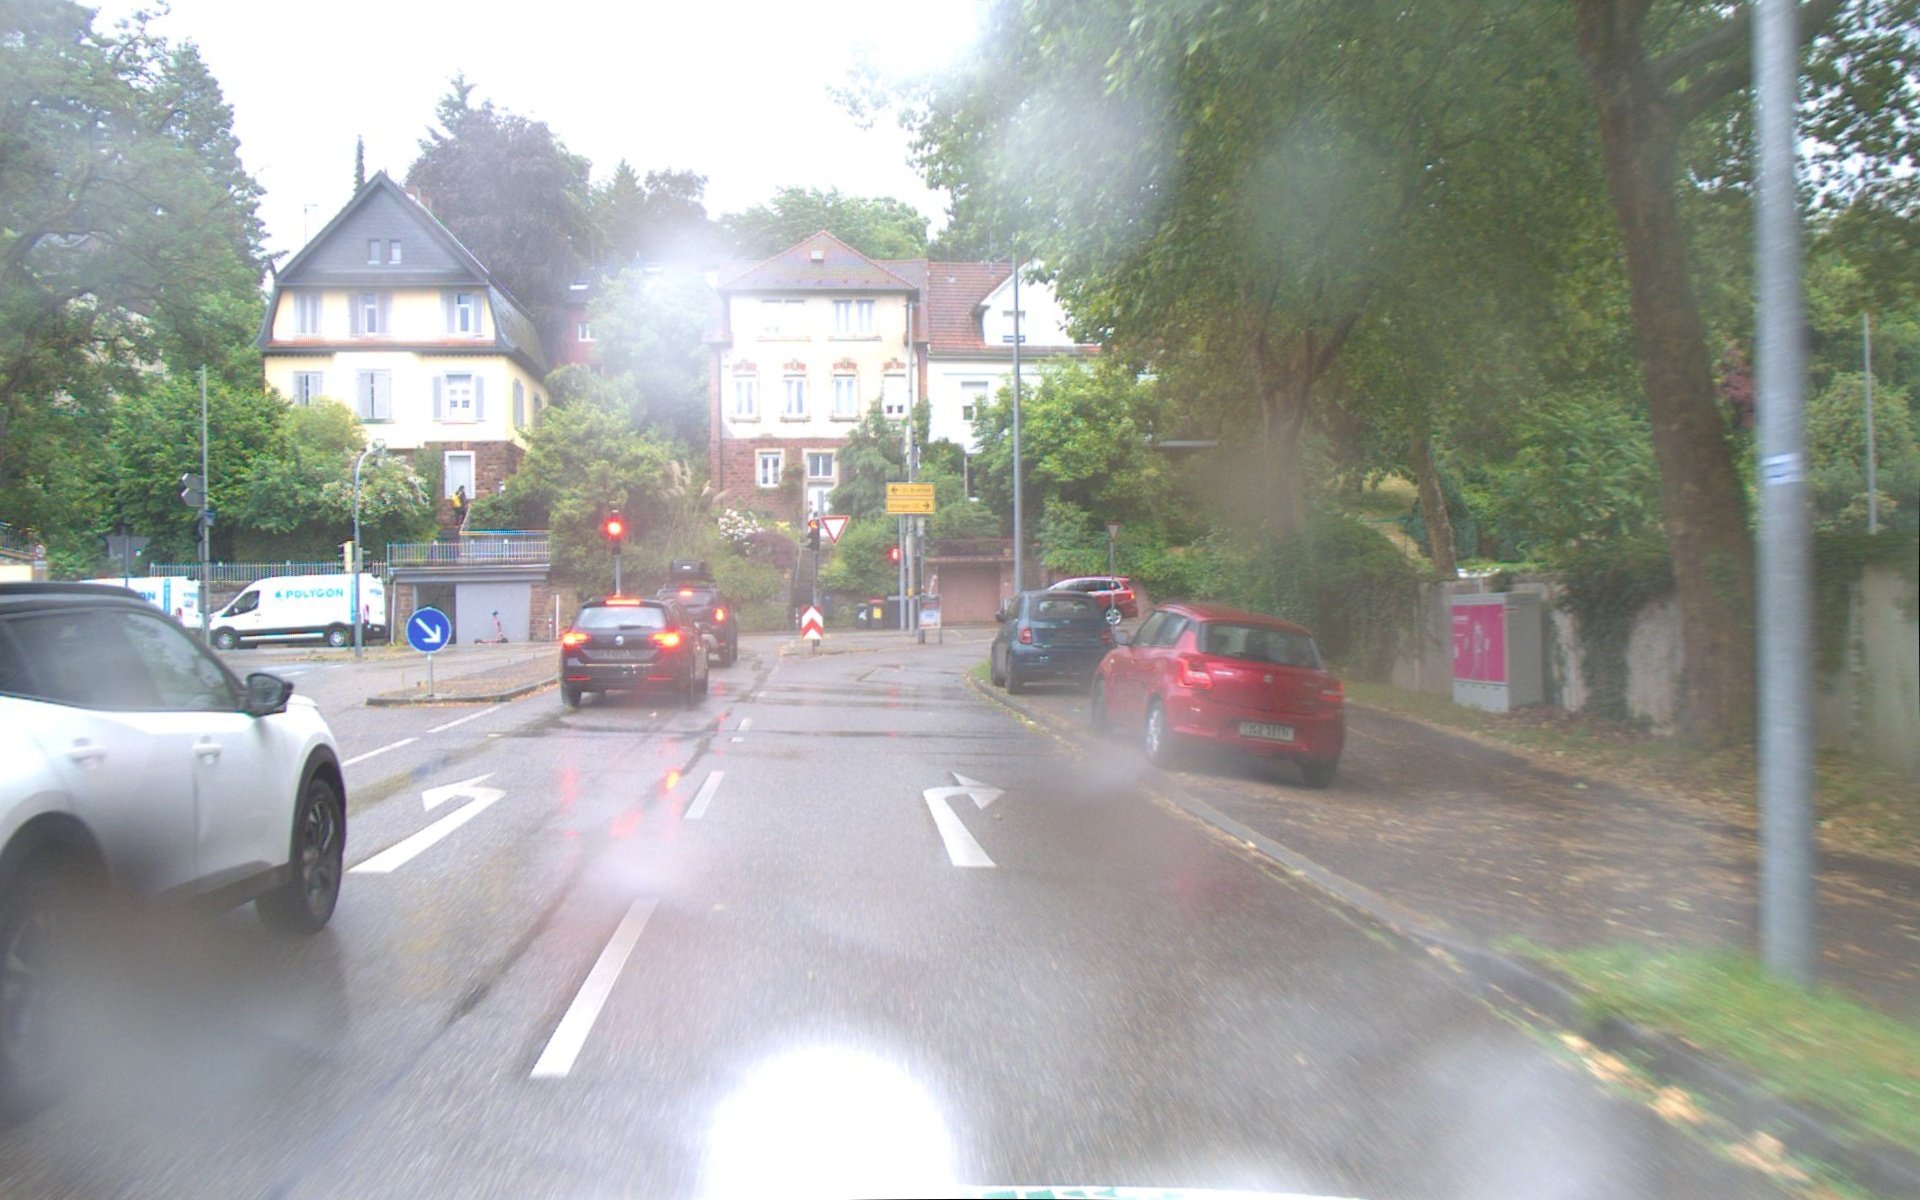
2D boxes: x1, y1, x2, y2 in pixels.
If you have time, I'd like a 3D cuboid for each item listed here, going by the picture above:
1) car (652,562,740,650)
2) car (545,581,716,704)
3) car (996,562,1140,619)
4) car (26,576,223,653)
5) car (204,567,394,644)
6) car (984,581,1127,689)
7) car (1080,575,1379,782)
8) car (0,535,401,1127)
[{"bbox_3d":[-5.548,0.076,35.129,1.727,1.741,4.593,0,1,-8],"label":"car"},{"bbox_3d":[-4.562,0.516,23.535,1.796,1.481,4.655,2,1,-4],"label":"car"},{"bbox_3d":[3.491,-0.303,53.897,4.477,1.629,1.773,-2,-1,-3],"label":"car"},{"bbox_3d":[-28.289,0.495,56.136,5.452,2.538,2.314,0,-1,-3],"label":"car"},{"bbox_3d":[-22.450,0.207,56.366,5.548,2.538,2.314,0,-1,-3],"label":"car"},{"bbox_3d":[1.404,0.503,25.664,1.715,1.518,3.596,2,0,-5],"label":"car"},{"bbox_3d":[2.475,0.660,16.148,1.785,1.543,3.738,6,1,-7],"label":"car"},{"bbox_3d":[-3.547,0.626,6.120,1.718,1.562,4.363,-2,0,-4],"label":"car"}]
